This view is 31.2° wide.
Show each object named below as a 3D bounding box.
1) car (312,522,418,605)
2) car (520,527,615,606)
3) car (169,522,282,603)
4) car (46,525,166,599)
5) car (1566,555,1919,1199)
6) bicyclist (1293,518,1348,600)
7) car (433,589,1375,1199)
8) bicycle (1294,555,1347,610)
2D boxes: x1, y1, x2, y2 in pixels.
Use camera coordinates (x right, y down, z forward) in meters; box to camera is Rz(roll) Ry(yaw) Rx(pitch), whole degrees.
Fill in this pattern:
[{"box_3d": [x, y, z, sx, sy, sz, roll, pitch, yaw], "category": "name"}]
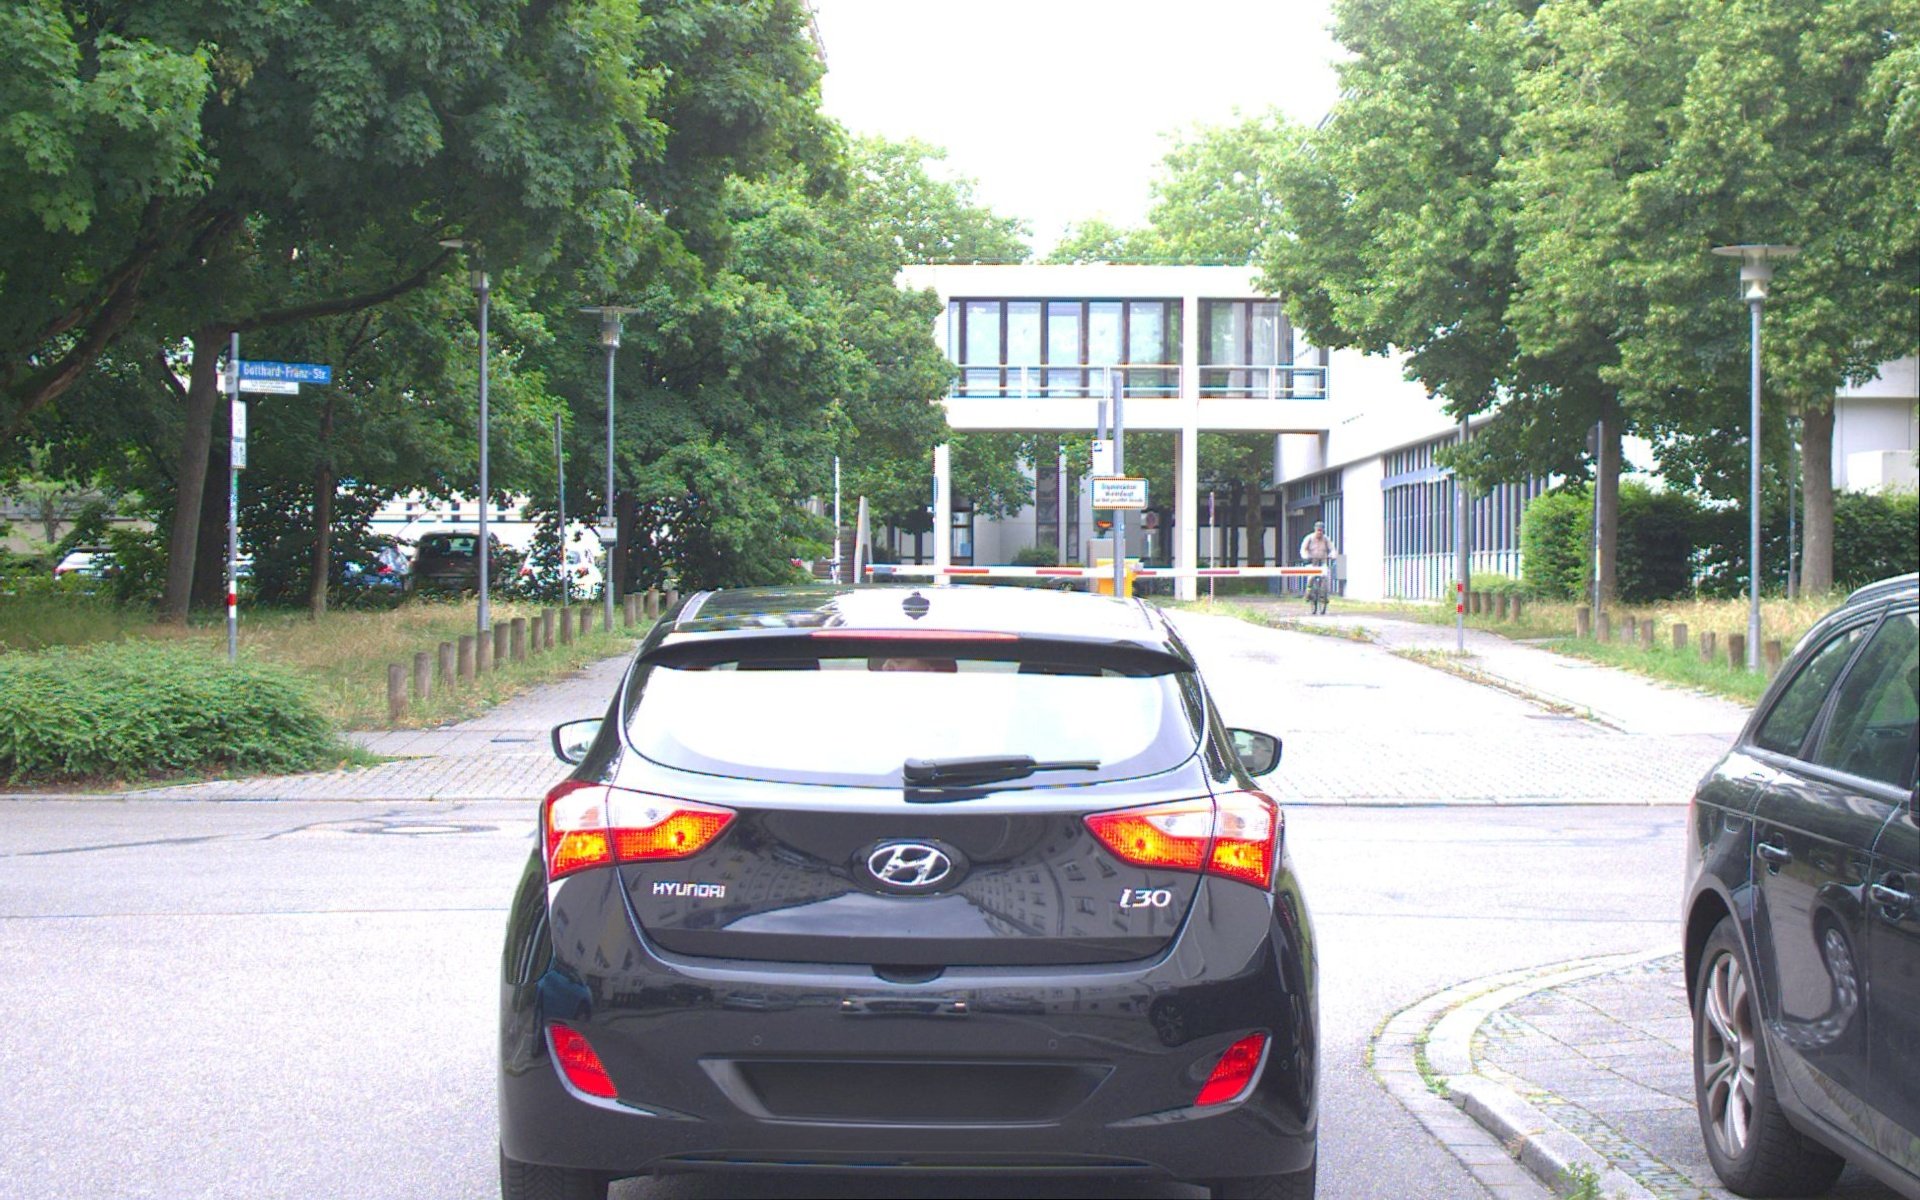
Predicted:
[{"box_3d": [-13.515, -0.800, 78.253, 1.993, 1.788, 4.000, 0, -1, -4], "category": "car"}, {"box_3d": [-8.919, -0.748, 78.318, 1.993, 1.756, 4.001, 0, 0, -4], "category": "car"}, {"box_3d": [-16.618, -0.834, 77.921, 1.993, 1.722, 4.000, 0, -1, -4], "category": "car"}, {"box_3d": [-19.340, -0.863, 77.988, 1.993, 1.612, 4.001, 0, 1, -4], "category": "car"}, {"box_3d": [2.599, 0.649, 6.511, 1.860, 1.457, 4.726, -1, 1, -3], "category": "car"}, {"box_3d": [7.261, -0.822, 69.274, 1.017, 1.639, 0.923, 0, 1, 1], "category": "bicyclist"}, {"box_3d": [-0.201, 0.717, 8.691, 1.846, 1.457, 3.828, 1, 0, -3], "category": "car"}, {"box_3d": [7.257, -0.362, 69.283, 0.866, 1.071, 2.142, 0, 1, 1], "category": "bicycle"}]
